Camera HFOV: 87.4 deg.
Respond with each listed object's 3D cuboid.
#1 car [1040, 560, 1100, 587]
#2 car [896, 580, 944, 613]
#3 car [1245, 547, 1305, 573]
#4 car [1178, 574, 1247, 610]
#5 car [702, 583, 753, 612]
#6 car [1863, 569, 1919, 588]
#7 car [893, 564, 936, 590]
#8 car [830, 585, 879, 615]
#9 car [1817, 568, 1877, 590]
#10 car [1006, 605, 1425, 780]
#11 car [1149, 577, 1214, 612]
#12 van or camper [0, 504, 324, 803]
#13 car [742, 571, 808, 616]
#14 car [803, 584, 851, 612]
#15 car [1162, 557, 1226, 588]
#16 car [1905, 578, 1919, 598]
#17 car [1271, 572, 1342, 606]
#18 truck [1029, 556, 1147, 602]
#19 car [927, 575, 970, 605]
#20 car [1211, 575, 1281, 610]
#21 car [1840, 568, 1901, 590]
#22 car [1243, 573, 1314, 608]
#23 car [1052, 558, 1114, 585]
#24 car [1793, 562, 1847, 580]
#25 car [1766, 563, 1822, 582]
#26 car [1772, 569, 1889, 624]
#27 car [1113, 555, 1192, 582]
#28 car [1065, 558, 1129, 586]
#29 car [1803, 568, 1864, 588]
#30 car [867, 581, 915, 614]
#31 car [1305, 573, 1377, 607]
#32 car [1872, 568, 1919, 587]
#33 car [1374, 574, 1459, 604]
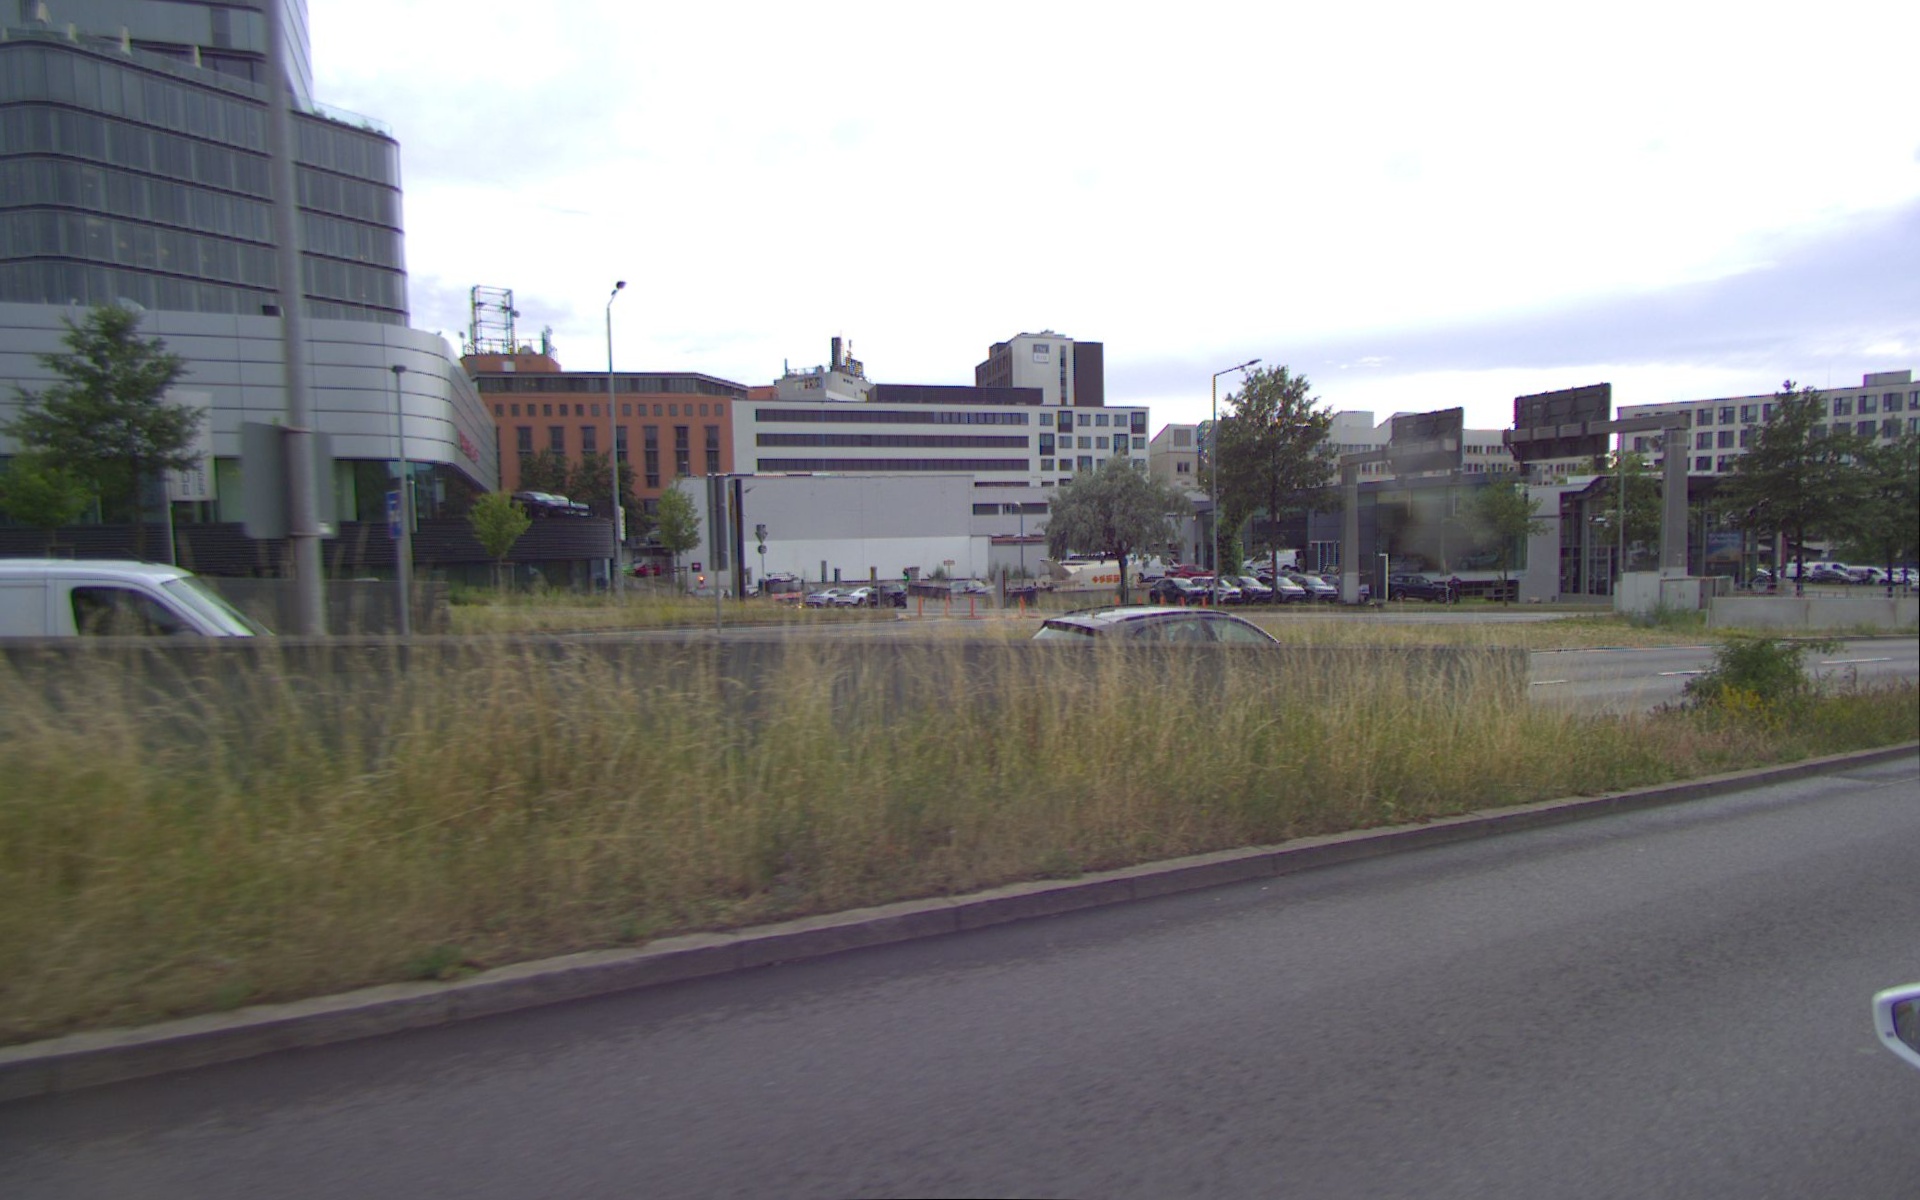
[{"bbox_3d":[8.040,-1.958,73.447,3.936,1.707,1.915,-2,5,-18],"label":"car"},{"bbox_3d":[-2.726,-0.299,69.480,1.960,1.908,3.999,1,5,18],"label":"car"},{"bbox_3d":[23.773,-3.068,75.829,3.937,1.807,1.915,3,7,38],"label":"car"},{"bbox_3d":[14.353,-0.482,57.317,1.895,1.707,3.978,-3,5,-21],"label":"car"},{"bbox_3d":[-16.270,-0.210,70.239,1.981,1.707,3.957,-4,6,-37],"label":"car"},{"bbox_3d":[95.396,-2.196,102.768,1.968,1.673,3.983,-2,5,-17],"label":"car"},{"bbox_3d":[-3.397,-1.766,76.495,1.960,1.729,3.999,1,5,18],"label":"car"},{"bbox_3d":[-7.526,-0.032,71.806,1.960,1.707,3.999,1,5,18],"label":"car"},{"bbox_3d":[88.251,-2.088,100.020,1.968,2.041,3.984,0,3,-17],"label":"car"},{"bbox_3d":[3.014,0.930,11.709,4.685,1.639,1.745,0,3,-26],"label":"car"},{"bbox_3d":[12.402,-0.352,56.499,1.674,1.622,3.992,-3,5,-21],"label":"car"},{"bbox_3d":[-8.967,0.407,8.937,5.466,2.472,2.192,1,1,-31],"label":"van or camper"},{"bbox_3d":[-12.239,-0.510,66.290,2.505,2.524,5.106,-4,6,-32],"label":"car"},{"bbox_3d":[-9.696,-0.161,73.490,1.960,1.707,3.999,1,5,18],"label":"car"},{"bbox_3d":[16.271,-1.924,69.806,3.935,1.908,1.900,-2,5,-17],"label":"car"},{"bbox_3d":[86.948,-0.982,89.370,3.937,1.673,1.991,5,6,38],"label":"car"},{"bbox_3d":[20.688,-0.689,60.069,1.895,1.707,3.978,-3,5,-21],"label":"car"},{"bbox_3d":[8.247,-1.408,64.720,7.299,2.563,2.361,-3,6,-21],"label":"truck"},{"bbox_3d":[-0.819,-0.784,74.541,1.960,1.908,3.999,1,5,18],"label":"car"},{"bbox_3d":[16.500,-0.472,58.208,1.895,1.707,3.978,-3,5,-21],"label":"car"},{"bbox_3d":[90.737,-2.120,100.132,1.968,1.902,3.983,-2,5,-17],"label":"car"},{"bbox_3d":[18.692,-0.588,59.151,1.895,1.707,3.978,-3,5,-21],"label":"car"},{"bbox_3d":[8.722,-2.067,71.377,3.936,1.707,1.915,-2,5,-18],"label":"car"},{"bbox_3d":[92.765,-3.106,108.373,1.796,1.673,3.973,-3,6,-25],"label":"car"},{"bbox_3d":[87.354,-2.874,105.230,1.972,1.673,3.975,-3,6,-24],"label":"car"},{"bbox_3d":[29.839,-0.160,34.452,3.500,1.612,1.682,-3,6,-25],"label":"car"},{"bbox_3d":[14.358,-2.351,75.004,5.446,1.907,1.992,0,5,-17],"label":"car"},{"bbox_3d":[9.338,-1.945,68.556,3.936,1.707,1.915,-2,5,-18],"label":"car"},{"bbox_3d":[85.892,-2.154,98.805,1.972,1.673,3.975,-3,6,-24],"label":"car"},{"bbox_3d":[-4.859,-0.214,70.983,1.960,1.908,3.999,1,5,18],"label":"car"},{"bbox_3d":[23.055,-0.634,60.896,1.895,1.707,3.978,-3,5,-21],"label":"car"},{"bbox_3d":[97.563,-2.385,104.103,1.968,1.673,3.983,-2,5,-17],"label":"car"},{"bbox_3d":[28.447,-0.702,62.721,4.416,1.707,1.921,-1,5,-4],"label":"car"}]
